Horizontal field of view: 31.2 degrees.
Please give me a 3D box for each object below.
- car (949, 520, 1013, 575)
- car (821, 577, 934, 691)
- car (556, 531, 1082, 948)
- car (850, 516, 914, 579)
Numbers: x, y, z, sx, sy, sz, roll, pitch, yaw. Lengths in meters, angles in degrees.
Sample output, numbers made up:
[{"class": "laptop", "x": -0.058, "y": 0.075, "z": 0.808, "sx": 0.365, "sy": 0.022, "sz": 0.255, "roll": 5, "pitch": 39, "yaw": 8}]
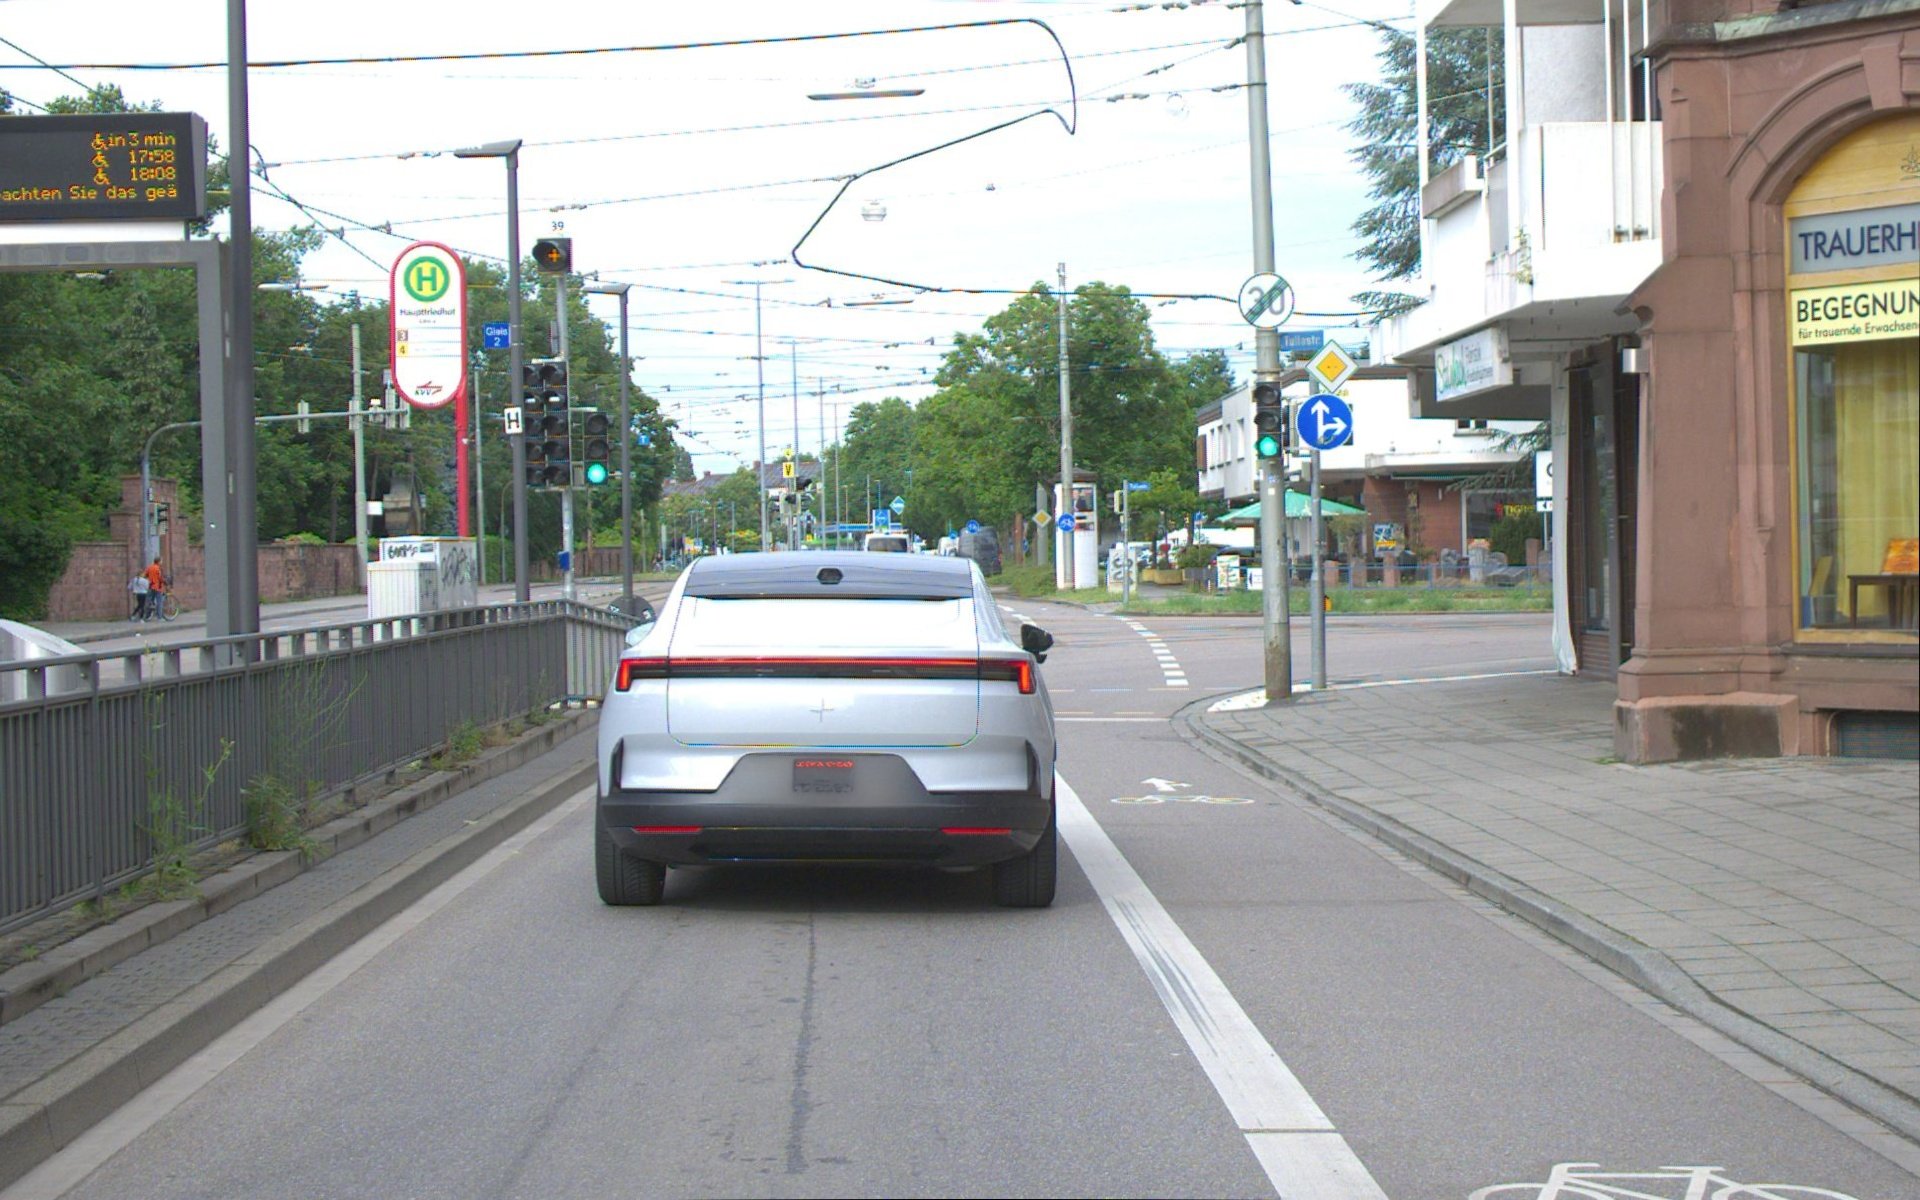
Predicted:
[{"class": "car", "x": 0.936, "y": -2.395, "z": 158.144, "sx": 2.807, "sy": 2.496, "sz": 5.723, "roll": 0, "pitch": 0, "yaw": -1}, {"class": "car", "x": -1.252, "y": 0.494, "z": 53.241, "sx": 1.681, "sy": 1.682, "sz": 3.824, "roll": 0, "pitch": 0, "yaw": -1}, {"class": "car", "x": -0.679, "y": 0.520, "z": 15.113, "sx": 1.999, "sy": 1.575, "sz": 4.001, "roll": 0, "pitch": 0, "yaw": -4}, {"class": "car", "x": -3.073, "y": -2.038, "z": 134.454, "sx": 2.225, "sy": 2.394, "sz": 5.124, "roll": 0, "pitch": 0, "yaw": -4}]
